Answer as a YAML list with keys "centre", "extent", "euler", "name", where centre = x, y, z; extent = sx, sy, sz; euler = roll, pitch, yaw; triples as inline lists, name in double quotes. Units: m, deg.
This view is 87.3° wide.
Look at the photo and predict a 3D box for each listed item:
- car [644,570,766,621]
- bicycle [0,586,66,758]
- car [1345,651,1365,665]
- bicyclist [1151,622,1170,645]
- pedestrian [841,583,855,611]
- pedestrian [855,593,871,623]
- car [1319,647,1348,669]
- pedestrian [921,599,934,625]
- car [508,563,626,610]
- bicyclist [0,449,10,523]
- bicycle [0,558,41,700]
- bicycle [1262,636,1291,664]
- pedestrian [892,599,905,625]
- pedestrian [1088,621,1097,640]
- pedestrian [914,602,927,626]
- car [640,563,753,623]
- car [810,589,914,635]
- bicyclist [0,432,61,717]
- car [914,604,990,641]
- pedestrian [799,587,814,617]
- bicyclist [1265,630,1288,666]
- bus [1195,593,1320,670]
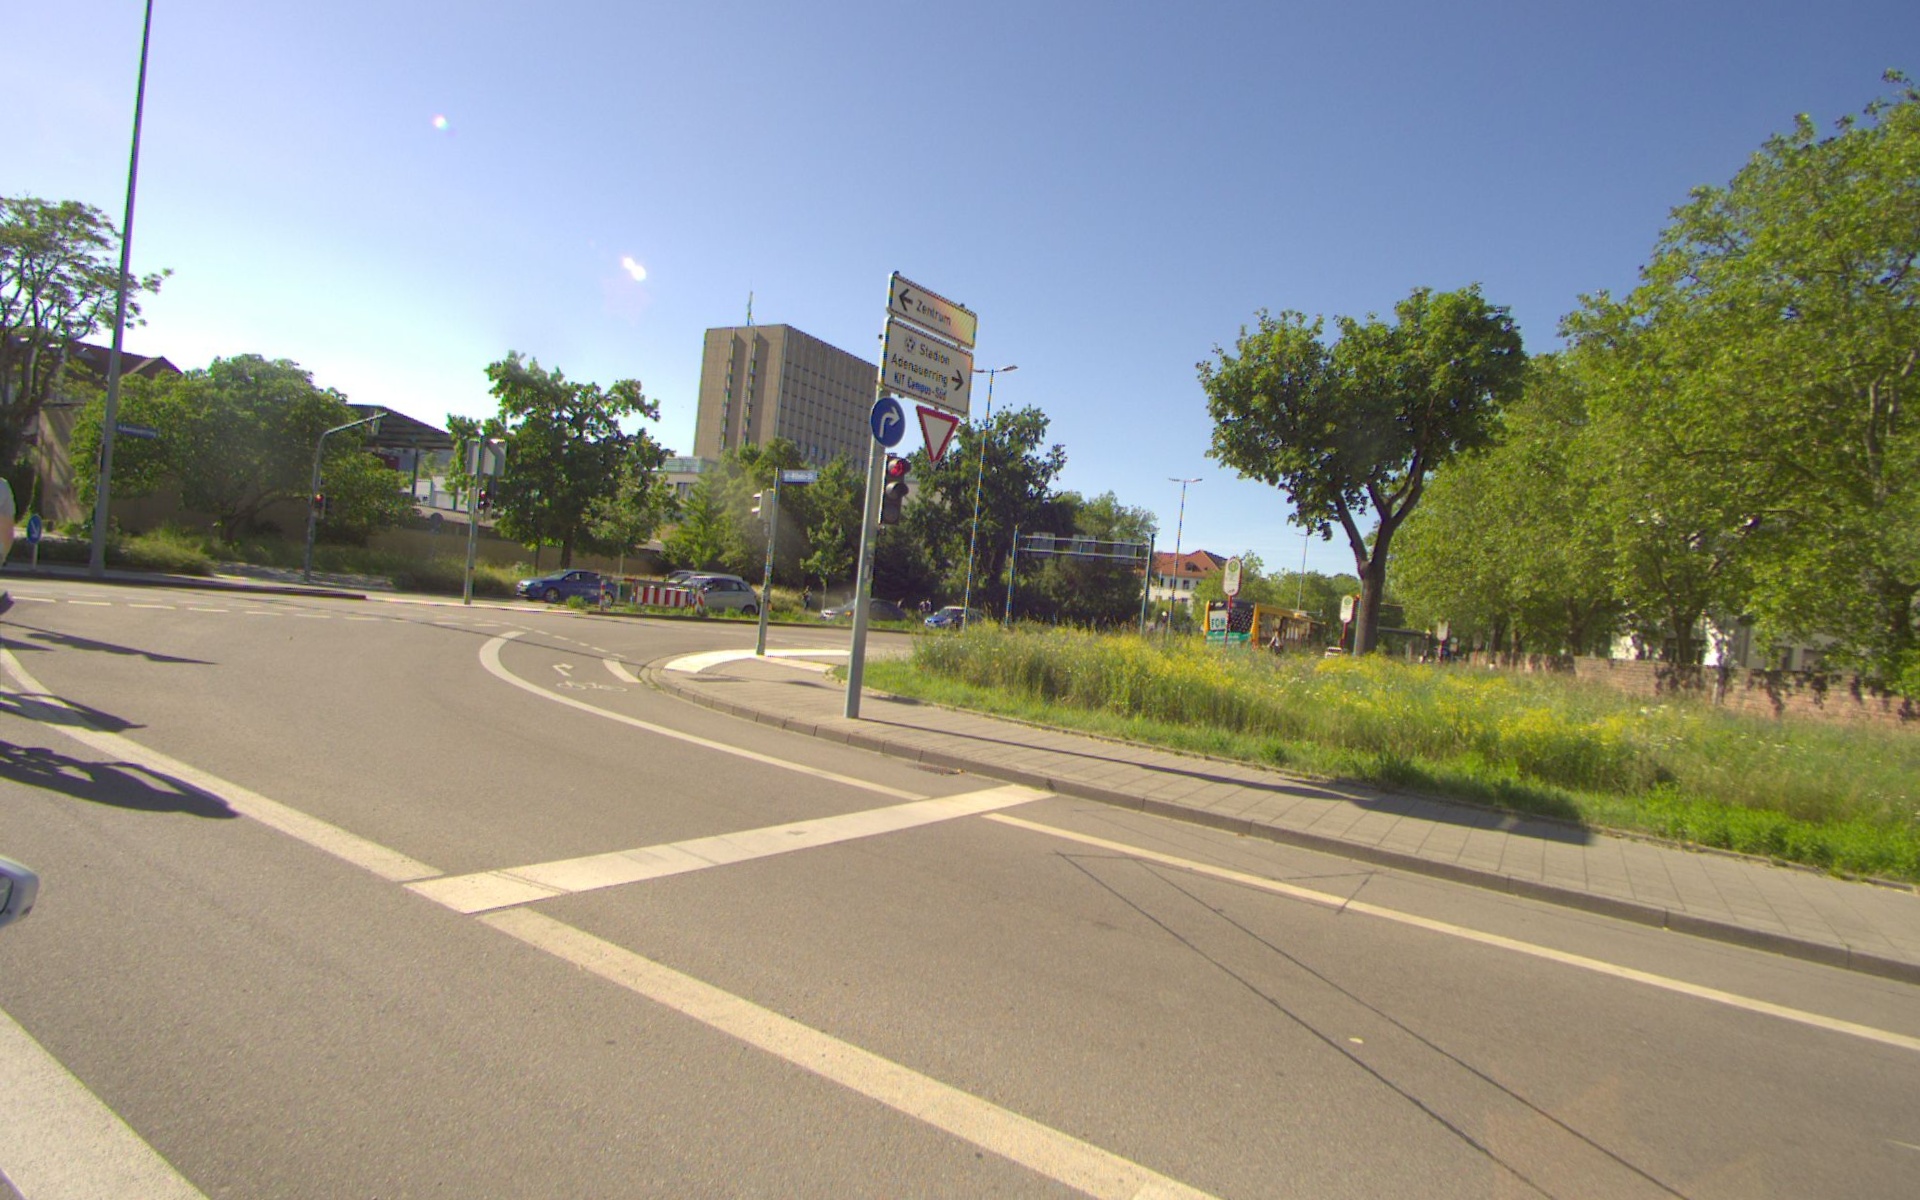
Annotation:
- centre: [-9.434, -0.151, 37.440]
  extent: [1.840, 1.426, 4.046]
  euler: [6, 0, 38]
  name: "car"
- centre: [-6.291, 0.343, 6.100]
  extent: [1.946, 0.906, 0.741]
  euler: [6, -2, 33]
  name: "bicycle"
- centre: [48.542, 7.140, 123.587]
  extent: [1.812, 1.405, 4.066]
  euler: [4, -2, 27]
  name: "car"
- centre: [15.568, 2.585, 78.116]
  extent: [0.778, 1.649, 1.315]
  euler: [7, 1, 37]
  name: "bicyclist"
- centre: [-7.487, -0.170, 67.427]
  extent: [0.520, 1.800, 0.561]
  euler: [7, 1, 38]
  name: "pedestrian"
- centre: [-6.394, 0.518, 66.156]
  extent: [0.702, 1.872, 0.561]
  euler: [7, 1, 35]
  name: "pedestrian"
- centre: [30.205, 4.674, 81.370]
  extent: [1.670, 1.525, 3.770]
  euler: [6, 0, 27]
  name: "car"
- centre: [-2.362, 0.846, 72.961]
  extent: [0.519, 1.801, 0.561]
  euler: [7, 1, 35]
  name: "pedestrian"
- centre: [-16.088, -0.516, 41.349]
  extent: [1.717, 1.453, 4.162]
  euler: [7, 0, 38]
  name: "car"
- centre: [-8.135, -0.373, 7.789]
  extent: [1.048, 1.759, 0.647]
  euler: [7, -1, 26]
  name: "bicyclist"
- centre: [-7.943, 0.117, 7.655]
  extent: [1.935, 1.014, 0.661]
  euler: [6, -1, 26]
  name: "bicycle"
- centre: [12.721, 2.032, 40.429]
  extent: [0.509, 1.007, 2.056]
  euler: [7, 0, 32]
  name: "bicycle"
- centre: [-4.337, 0.845, 71.431]
  extent: [0.519, 1.801, 0.561]
  euler: [7, 1, 35]
  name: "pedestrian"
- centre: [12.756, 2.913, 96.728]
  extent: [0.519, 1.801, 0.562]
  euler: [7, 1, 31]
  name: "pedestrian"
- centre: [-2.876, 1.020, 73.555]
  extent: [0.519, 1.716, 0.561]
  euler: [7, 1, 35]
  name: "pedestrian"
- centre: [-12.307, -0.276, 47.340]
  extent: [1.968, 2.131, 4.885]
  euler: [6, -2, 34]
  name: "car"
- centre: [-4.304, 0.578, 44.718]
  extent: [1.968, 1.604, 4.736]
  euler: [6, 0, 33]
  name: "car"
- centre: [-6.219, -0.205, 6.100]
  extent: [1.000, 1.688, 0.752]
  euler: [6, -1, 33]
  name: "bicyclist"
- centre: [-0.373, 1.156, 50.481]
  extent: [1.758, 1.448, 3.989]
  euler: [6, 0, 34]
  name: "car"
- centre: [-9.682, 0.124, 63.278]
  extent: [0.519, 1.801, 0.561]
  euler: [7, 1, 36]
  name: "pedestrian"
- centre: [12.732, 1.946, 40.434]
  extent: [0.509, 1.368, 1.002]
  euler: [7, 1, 32]
  name: "bicyclist"
- centre: [14.679, 1.650, 48.988]
  extent: [2.752, 2.662, 10.095]
  euler: [6, -2, 34]
  name: "bus"
